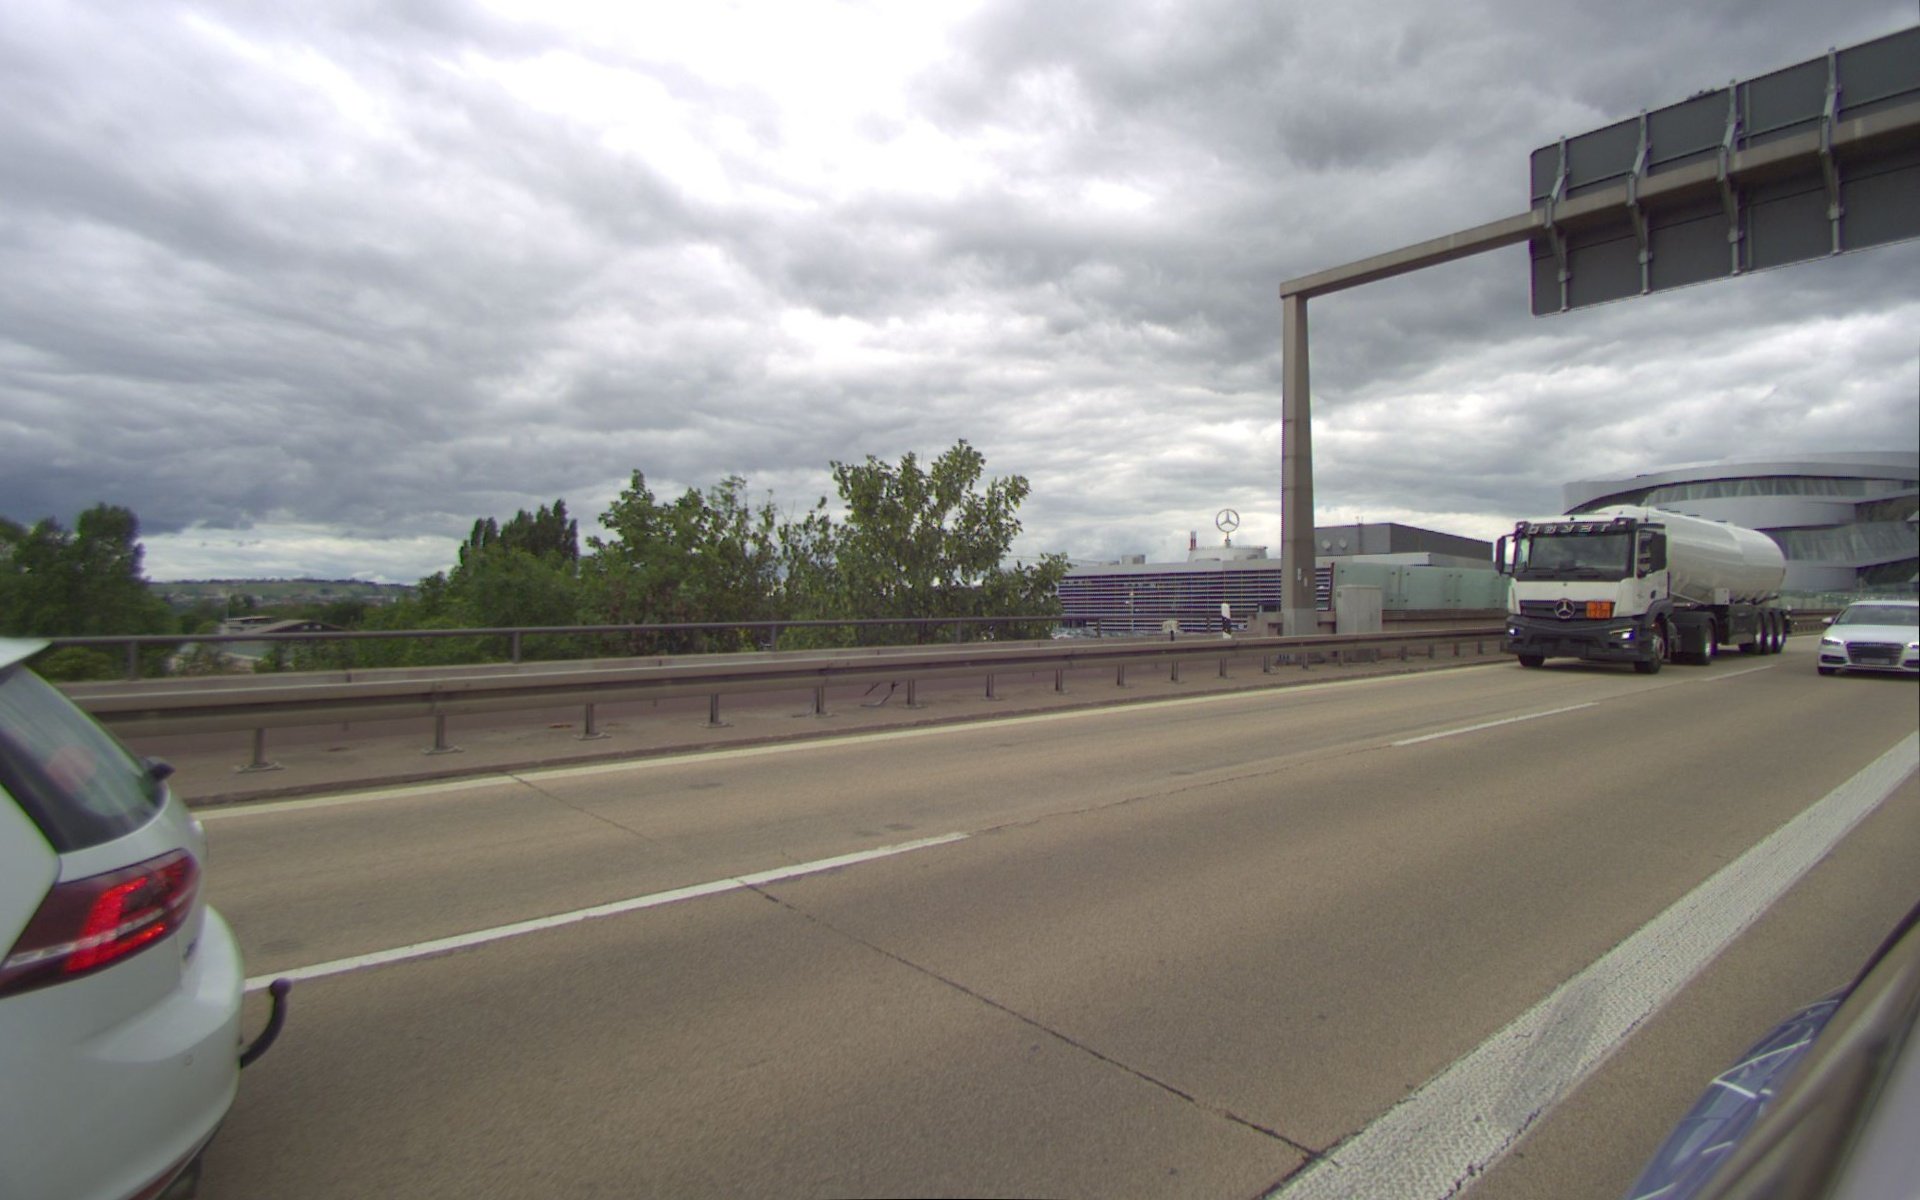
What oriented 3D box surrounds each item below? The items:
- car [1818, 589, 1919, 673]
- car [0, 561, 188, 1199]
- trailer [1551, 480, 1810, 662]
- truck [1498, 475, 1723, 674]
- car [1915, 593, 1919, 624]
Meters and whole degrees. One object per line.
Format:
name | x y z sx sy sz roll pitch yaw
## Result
car | 18.000 0.549 19.281 3.861 1.470 1.848 0 0 -39
car | -3.425 0.646 1.092 4.002 1.470 1.757 0 1 -42
trailer | 17.884 -0.625 24.649 11.025 3.588 2.655 0 1 -41
truck | 13.381 -0.421 20.708 4.818 3.559 2.635 2 -1 -41
car | 52.801 0.440 54.392 3.564 1.654 1.784 0 1 -41
